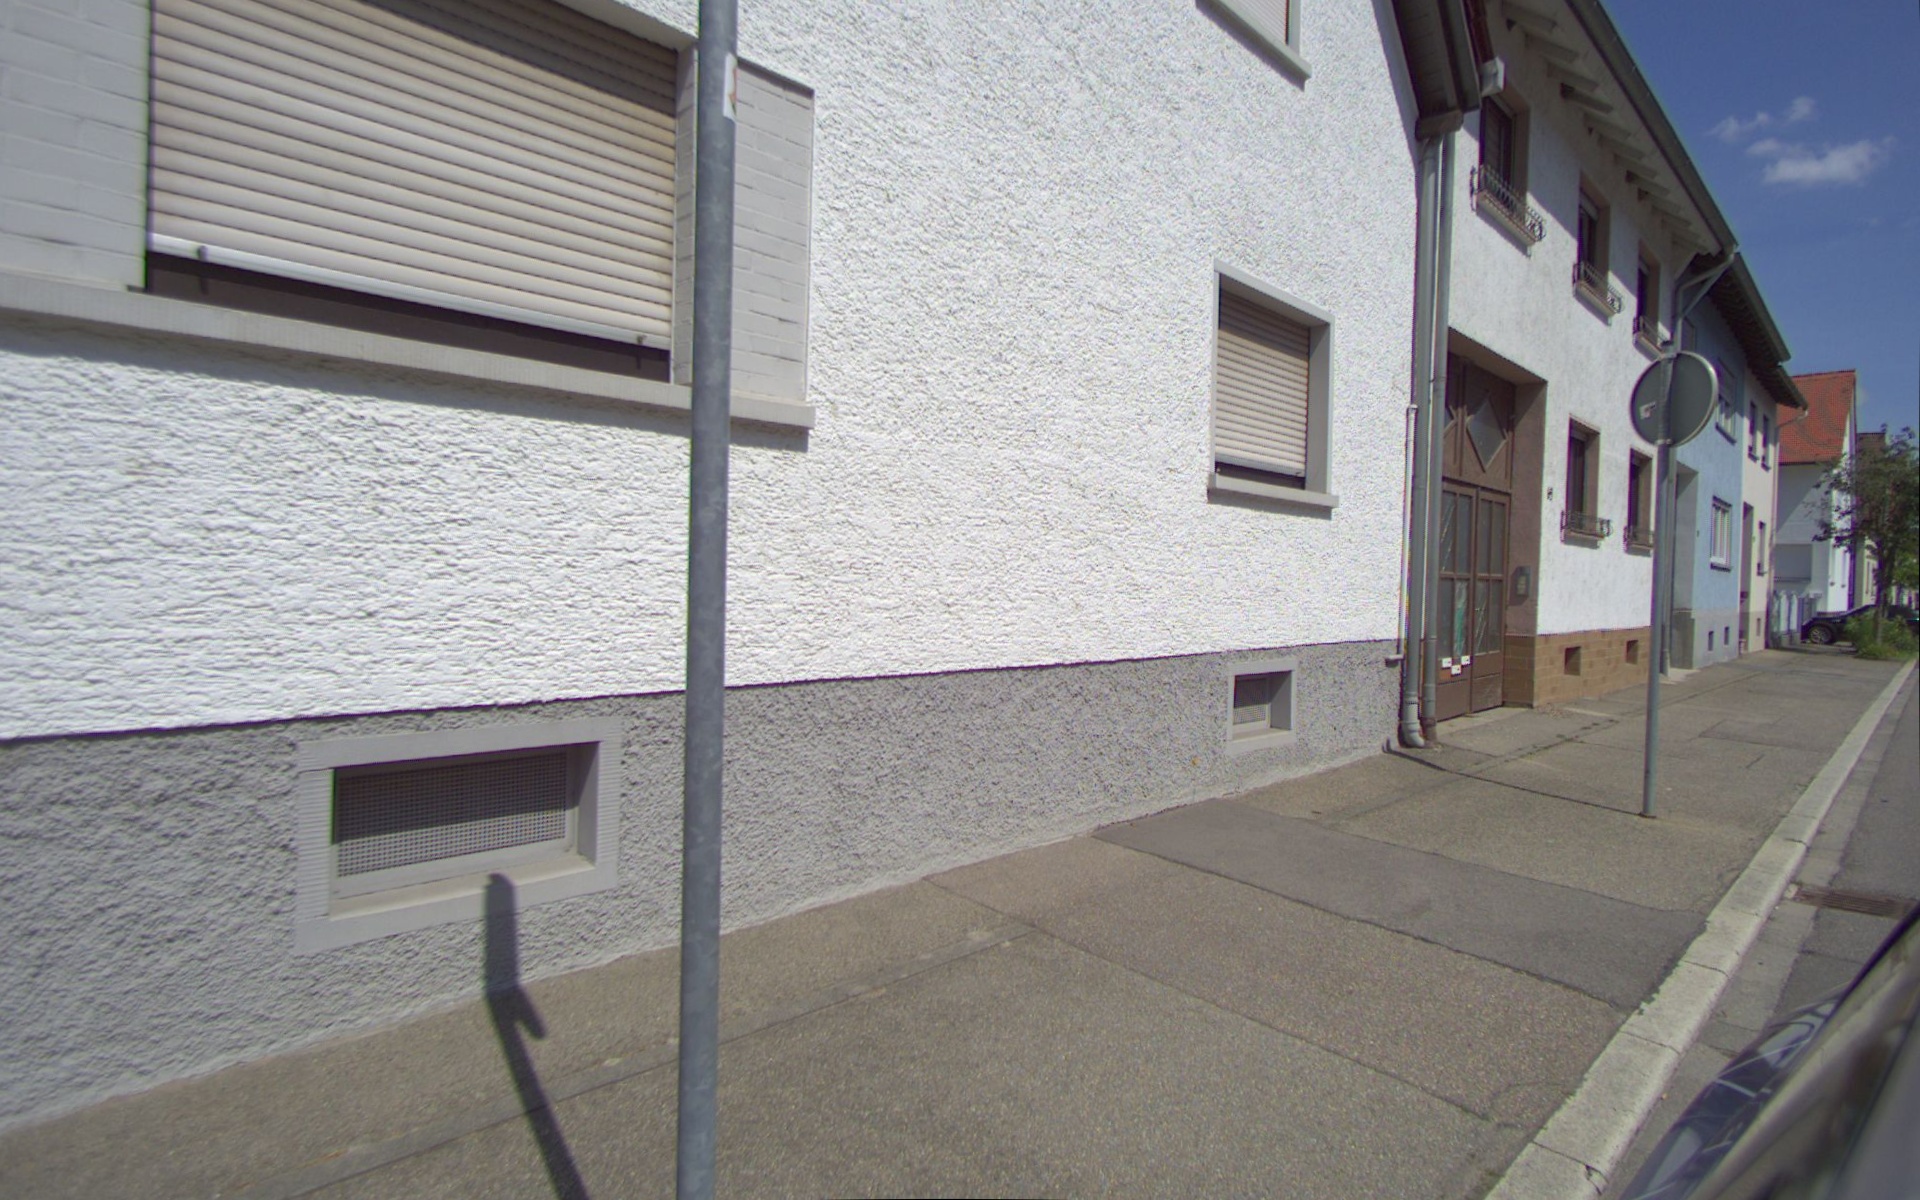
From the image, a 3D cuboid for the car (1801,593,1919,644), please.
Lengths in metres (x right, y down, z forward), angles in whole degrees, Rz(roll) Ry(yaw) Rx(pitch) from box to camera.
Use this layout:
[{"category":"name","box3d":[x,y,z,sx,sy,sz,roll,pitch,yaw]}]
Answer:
[{"category":"car","box3d":[28.941,0.578,31.629,1.696,1.446,3.816,1,1,-38]}]
